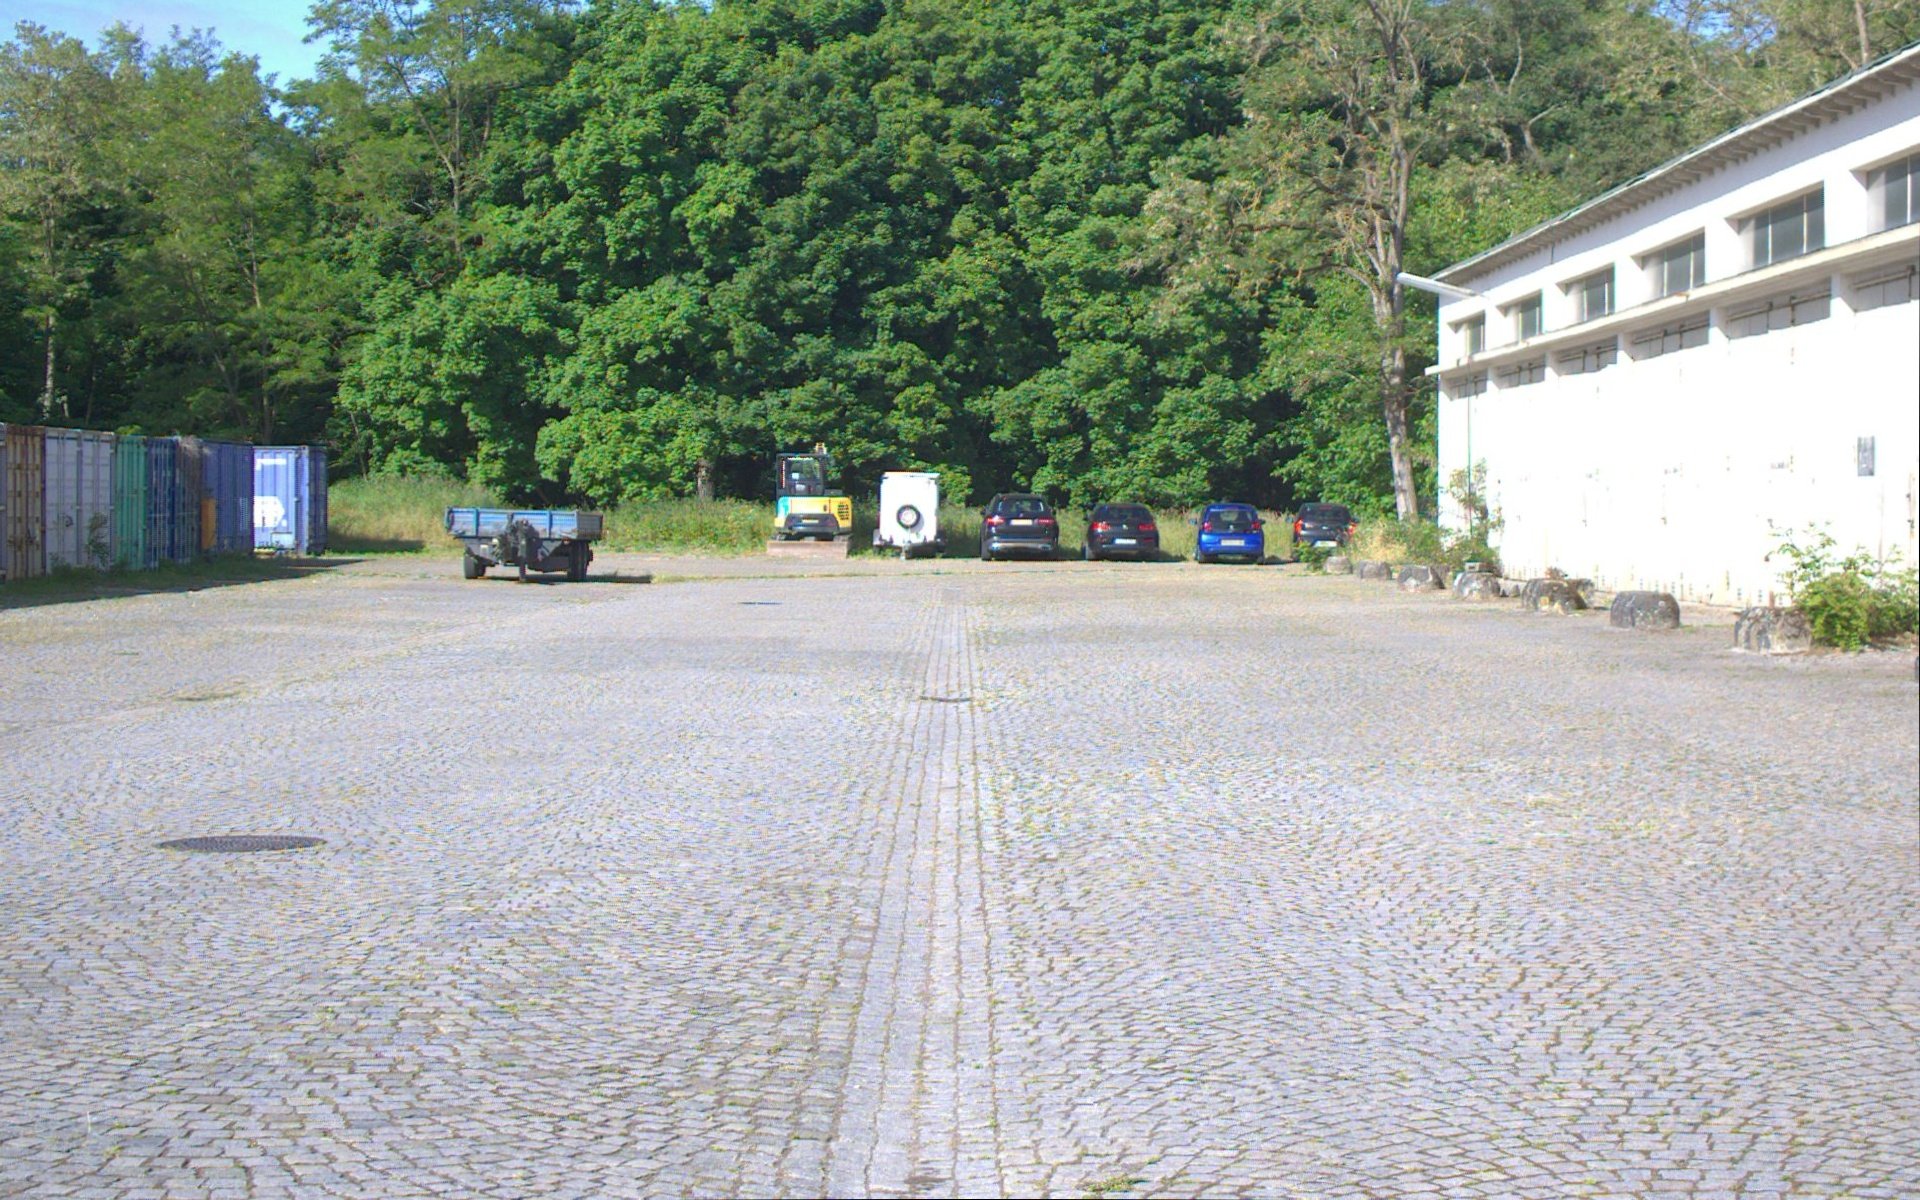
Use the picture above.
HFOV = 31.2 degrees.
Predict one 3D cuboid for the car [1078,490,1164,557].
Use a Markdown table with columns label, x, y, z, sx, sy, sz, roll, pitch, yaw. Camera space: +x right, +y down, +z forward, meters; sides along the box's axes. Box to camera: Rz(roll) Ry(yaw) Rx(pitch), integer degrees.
| label | x | y | z | sx | sy | sz | roll | pitch | yaw |
| --- | --- | --- | --- | --- | --- | --- | --- | --- | --- |
| car | 3.940 | -1.897 | 84.652 | 1.863 | 1.465 | 4.296 | 2 | 3 | 0 |

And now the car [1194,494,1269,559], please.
| label | x | y | z | sx | sy | sz | roll | pitch | yaw |
| --- | --- | --- | --- | --- | --- | --- | --- | --- | --- |
| car | 6.707 | -1.820 | 84.574 | 1.744 | 1.431 | 4.183 | 2 | 3 | 5 |

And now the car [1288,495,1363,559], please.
| label | x | y | z | sx | sy | sz | roll | pitch | yaw |
| --- | --- | --- | --- | --- | --- | --- | --- | --- | --- |
| car | 9.159 | -1.840 | 85.966 | 1.744 | 1.431 | 4.182 | 2 | 3 | 7 |

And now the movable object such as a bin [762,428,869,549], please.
| label | x | y | z | sx | sy | sz | roll | pitch | yaw |
| --- | --- | --- | --- | --- | --- | --- | --- | --- | --- |
| movable object such as a bin | -3.629 | -2.879 | 87.282 | 2.306 | 2.886 | 5.752 | 2 | 3 | 1 |

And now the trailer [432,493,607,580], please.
| label | x | y | z | sx | sy | sz | roll | pitch | yaw |
| --- | --- | --- | --- | --- | --- | --- | --- | --- | --- |
| trailer | -8.463 | -1.275 | 66.668 | 2.705 | 1.460 | 6.248 | 2 | 2 | -2 |

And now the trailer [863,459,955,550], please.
| label | x | y | z | sx | sy | sz | roll | pitch | yaw |
| --- | --- | --- | --- | --- | --- | --- | --- | --- | --- |
| trailer | -1.252 | -2.443 | 86.685 | 2.193 | 2.087 | 5.752 | 2 | 3 | 0 |

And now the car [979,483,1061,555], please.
| label | x | y | z | sx | sy | sz | roll | pitch | yaw |
| --- | --- | --- | --- | --- | --- | --- | --- | --- | --- |
| car | 1.451 | -2.005 | 84.298 | 1.863 | 1.583 | 4.296 | 2 | 3 | 0 |
